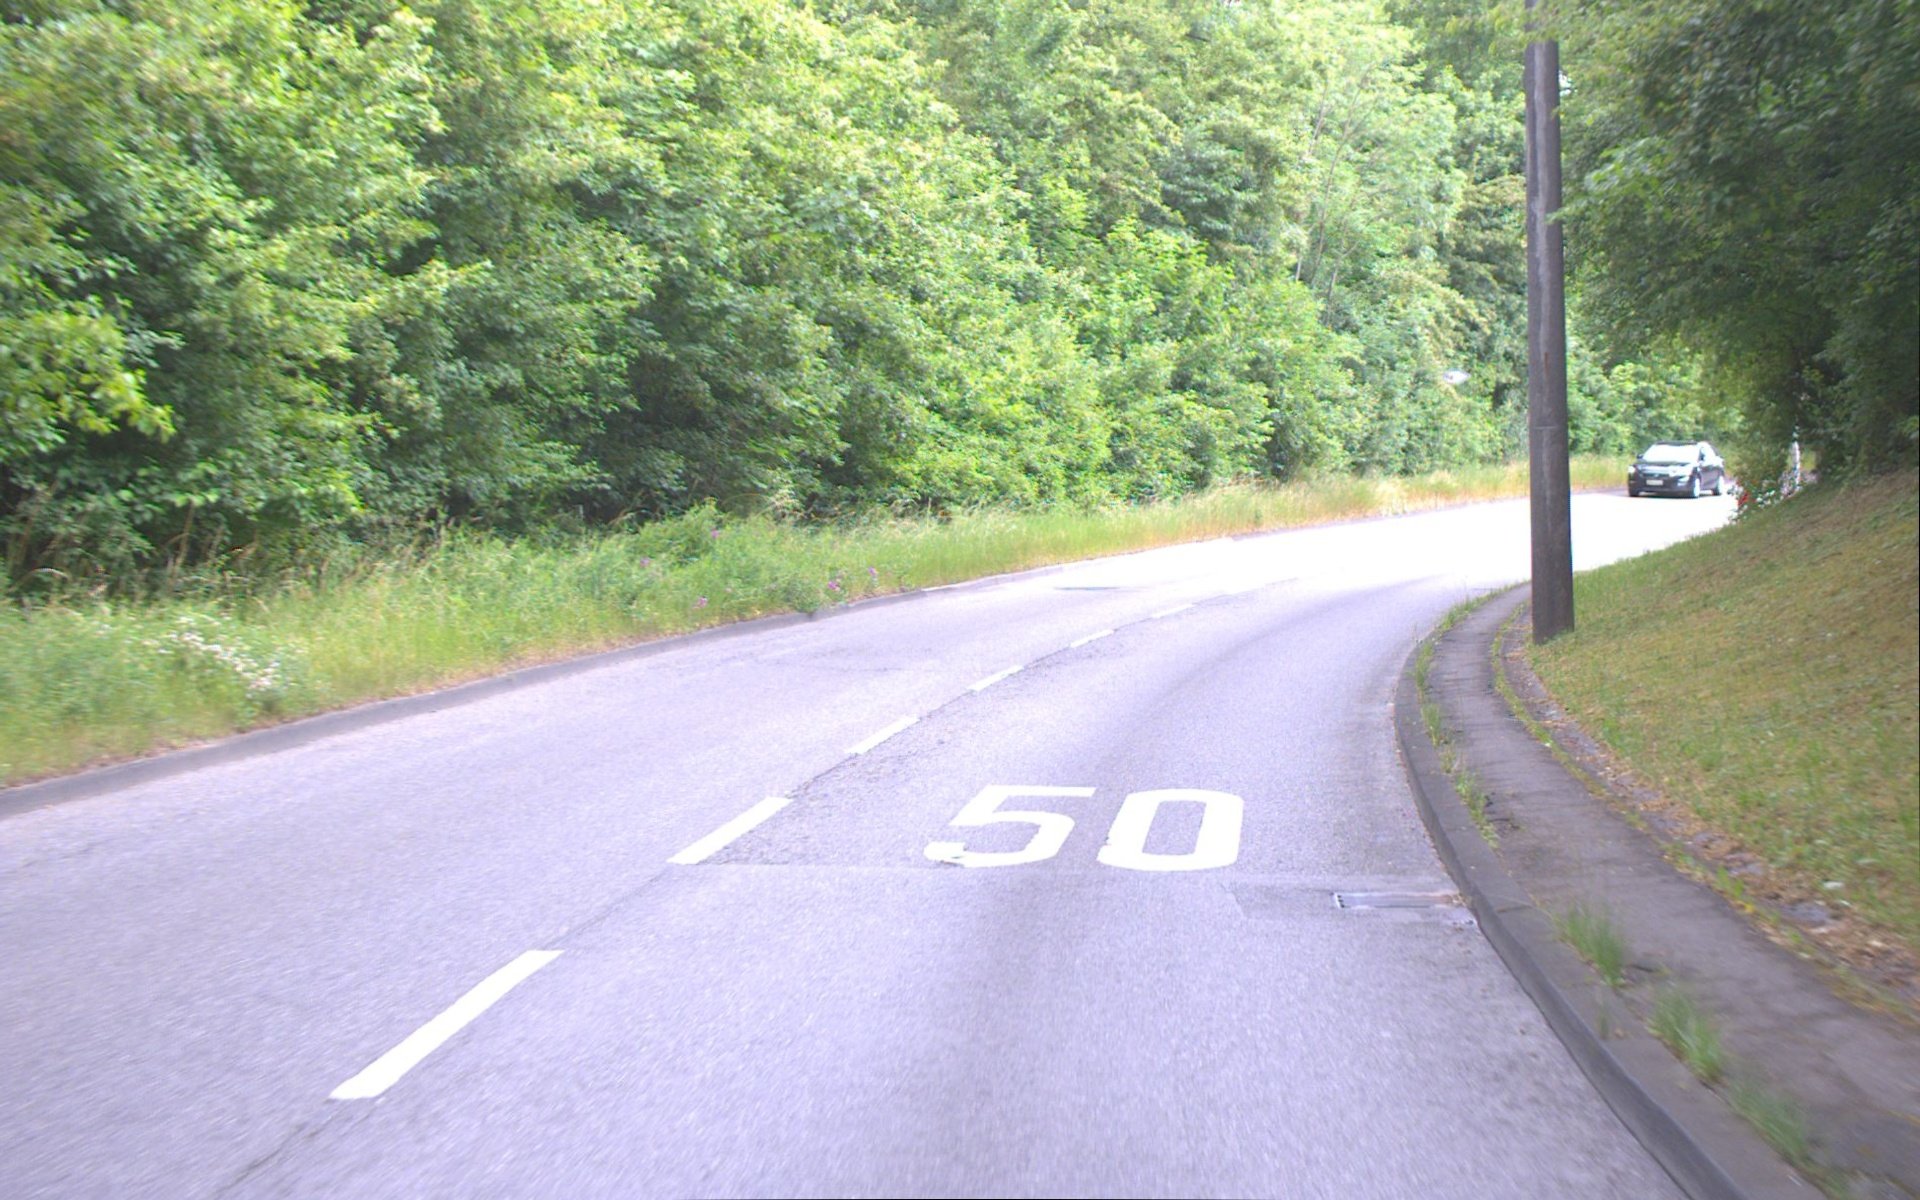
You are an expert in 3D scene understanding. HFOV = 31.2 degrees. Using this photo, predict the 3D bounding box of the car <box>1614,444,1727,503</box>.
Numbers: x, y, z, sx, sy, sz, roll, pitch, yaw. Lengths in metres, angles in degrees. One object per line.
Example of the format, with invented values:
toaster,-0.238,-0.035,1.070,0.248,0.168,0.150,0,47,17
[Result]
car,18.574,-3.321,89.752,1.805,1.429,4.654,3,4,25
